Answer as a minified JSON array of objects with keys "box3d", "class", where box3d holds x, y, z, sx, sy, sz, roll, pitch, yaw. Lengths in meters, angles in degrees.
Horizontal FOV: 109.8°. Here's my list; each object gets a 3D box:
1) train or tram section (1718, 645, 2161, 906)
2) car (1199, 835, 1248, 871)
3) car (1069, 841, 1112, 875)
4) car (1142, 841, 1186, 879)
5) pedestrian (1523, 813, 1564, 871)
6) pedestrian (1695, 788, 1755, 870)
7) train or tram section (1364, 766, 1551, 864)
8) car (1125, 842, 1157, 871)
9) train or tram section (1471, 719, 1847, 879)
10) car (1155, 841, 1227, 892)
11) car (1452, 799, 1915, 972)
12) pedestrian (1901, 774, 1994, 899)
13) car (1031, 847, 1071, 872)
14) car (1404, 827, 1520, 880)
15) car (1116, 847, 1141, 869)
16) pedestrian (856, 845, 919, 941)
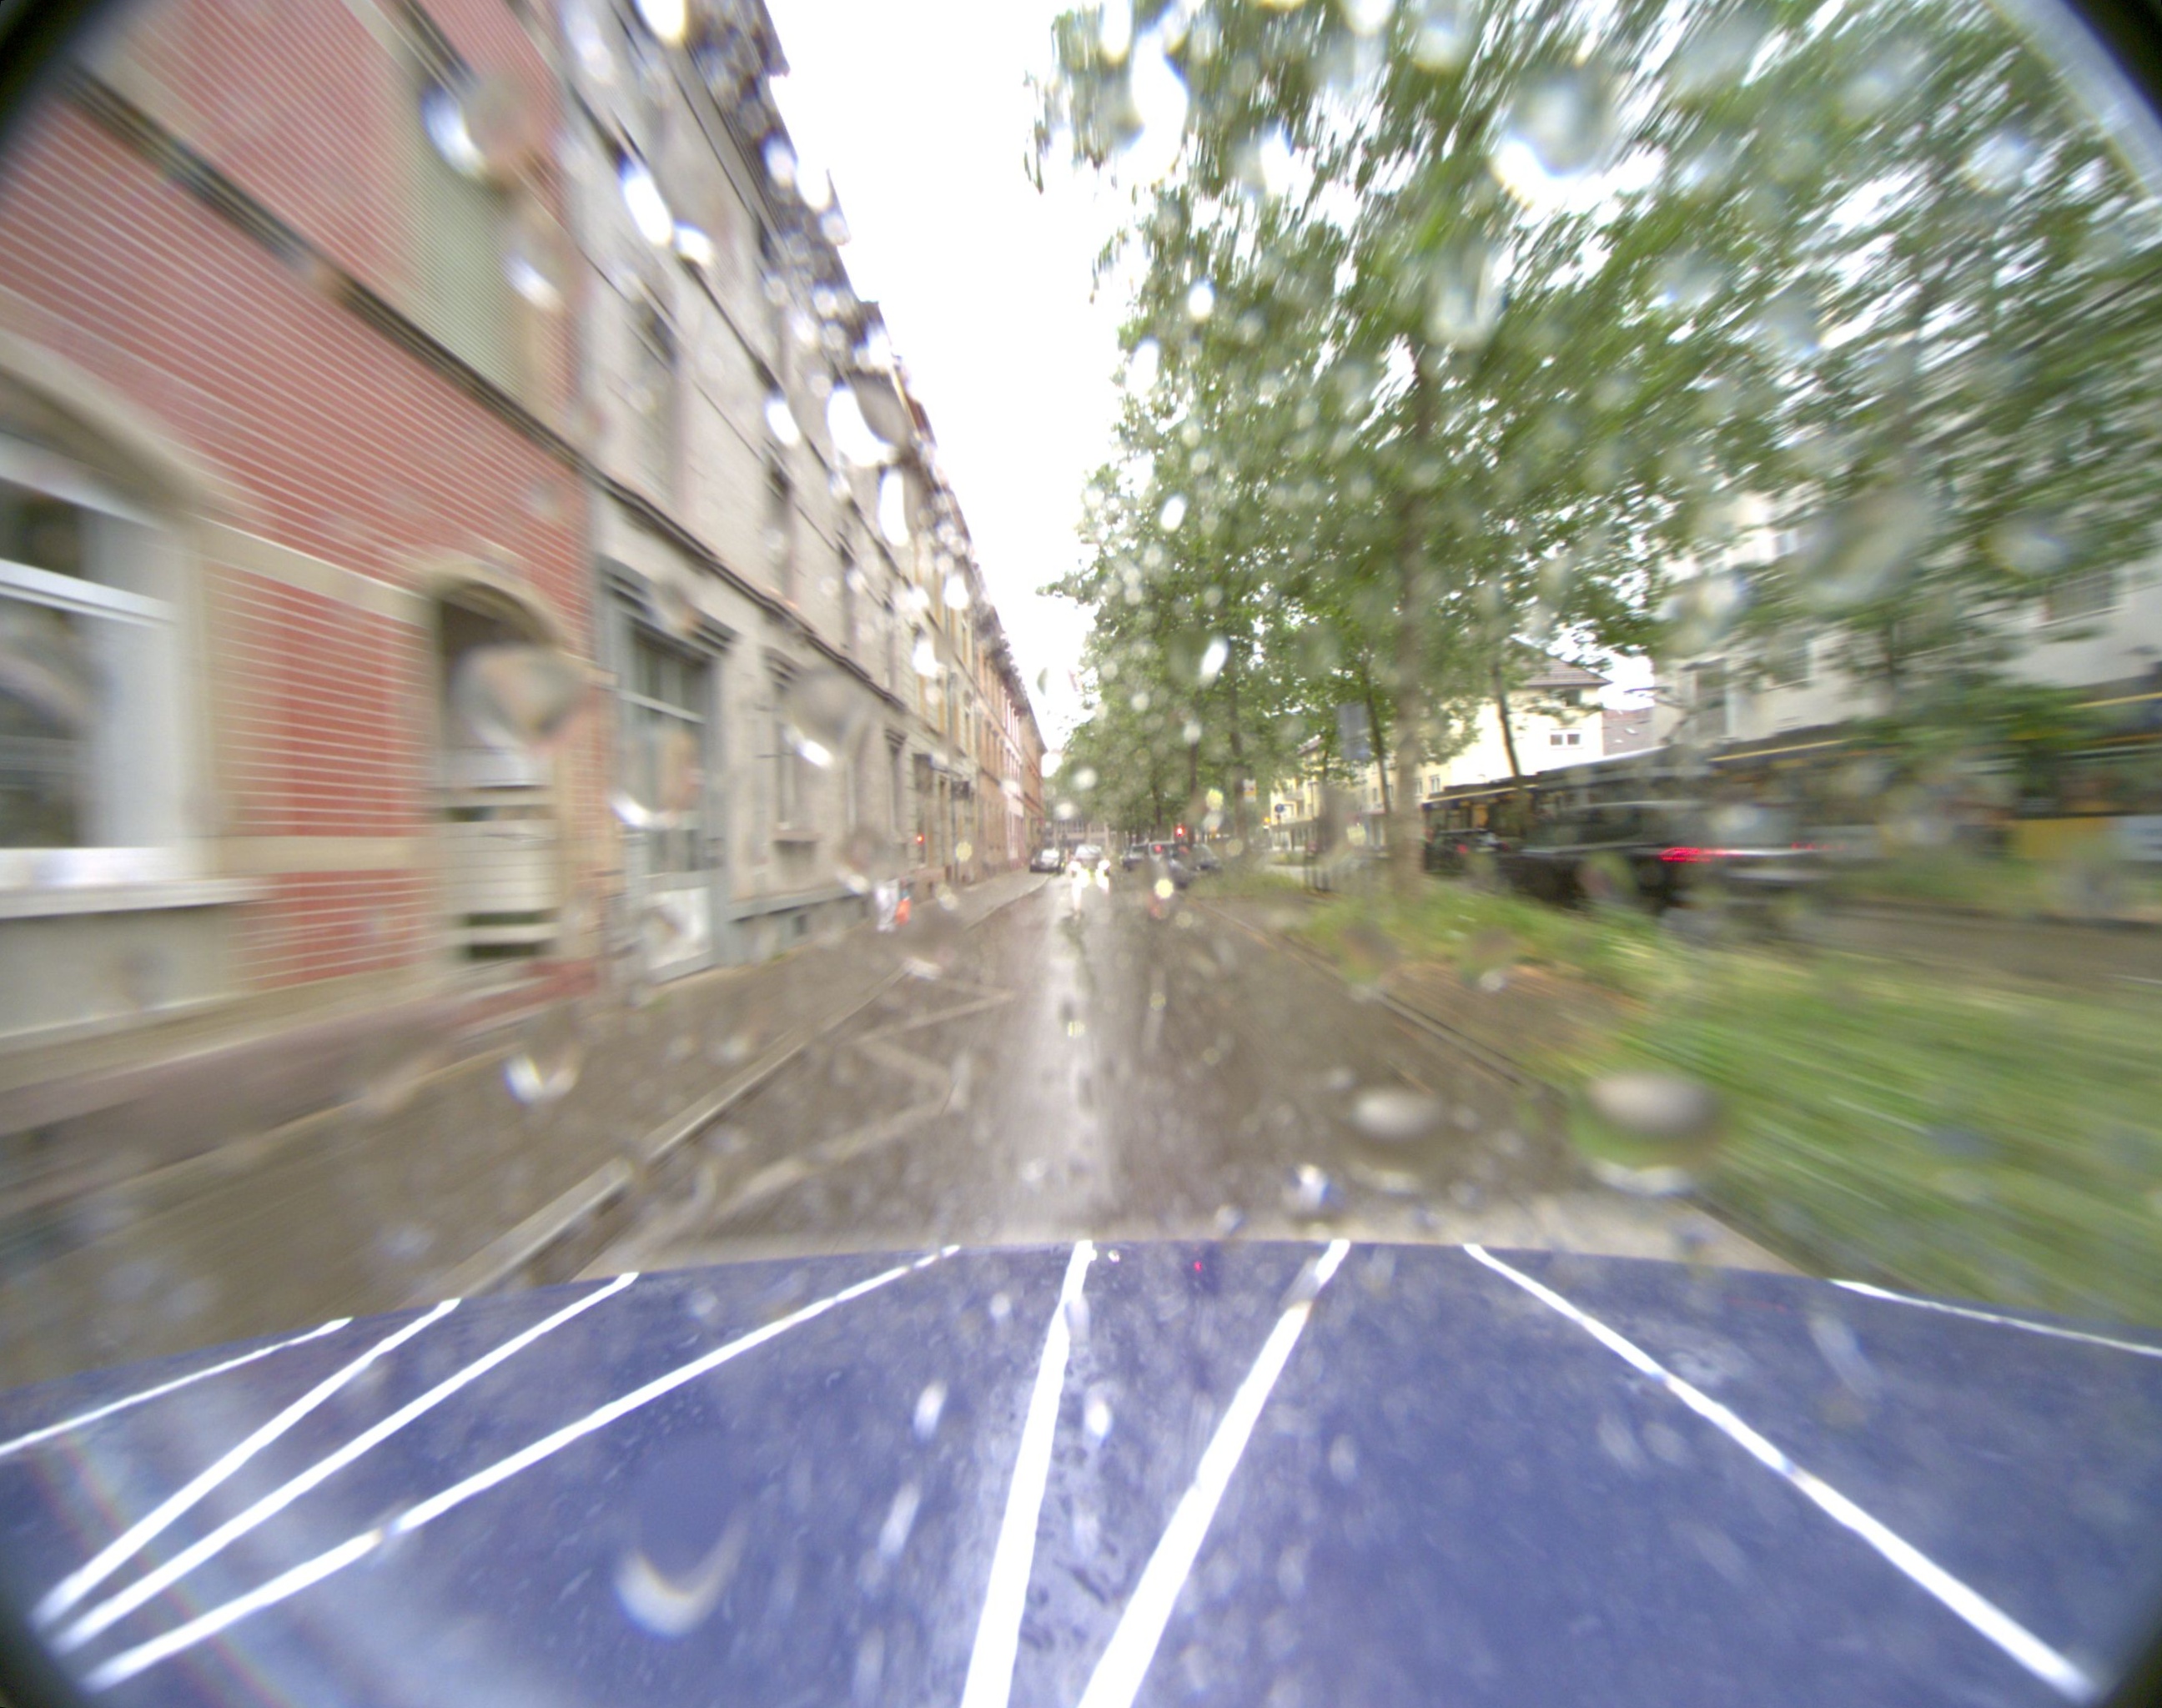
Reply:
[{"box3d":[16.453,-1.184,12.119,2.907,3.621,11.549,-3,1,1],"class":"train or tram section"},{"box3d":[7.007,-0.063,37.674,1.676,1.653,3.648,-3,1,0],"class":"car"},{"box3d":[0.558,0.176,39.273,1.976,1.629,4.161,-2,1,3],"class":"car"},{"box3d":[3.696,0.240,34.273,1.572,1.567,3.327,-3,1,1],"class":"car"},{"box3d":[14.473,-0.373,23.755,0.959,1.773,0.819,-2,1,38],"class":"pedestrian"},{"box3d":[14.407,-0.548,17.025,0.959,1.773,0.819,-2,1,38],"class":"pedestrian"},{"box3d":[16.745,-1.609,35.187,2.907,3.621,11.549,-3,1,1],"class":"train or tram section"},{"box3d":[3.528,0.136,44.064,1.663,1.567,3.423,-3,1,6],"class":"car"},{"box3d":[16.585,-1.396,23.663,2.907,3.621,11.549,-3,1,1],"class":"train or tram section"},{"box3d":[3.508,0.358,24.816,1.732,1.473,4.005,-3,1,1],"class":"car"},{"box3d":[7.122,0.293,9.848,2.062,1.609,4.671,-3,1,-4],"class":"car"},{"box3d":[13.402,-0.268,11.767,0.663,1.845,0.635,-3,1,1],"class":"pedestrian"},{"box3d":[-1.764,0.289,45.769,1.976,1.359,4.161,3,1,3],"class":"car"},{"box3d":[11.934,-0.033,24.078,1.676,1.377,3.705,-6,1,0],"class":"car"},{"box3d":[3.249,0.242,52.492,1.664,1.420,3.422,-3,1,3],"class":"car"},{"box3d":[-3.304,0.651,13.015,0.849,1.565,0.576,3,1,1],"class":"pedestrian"}]
